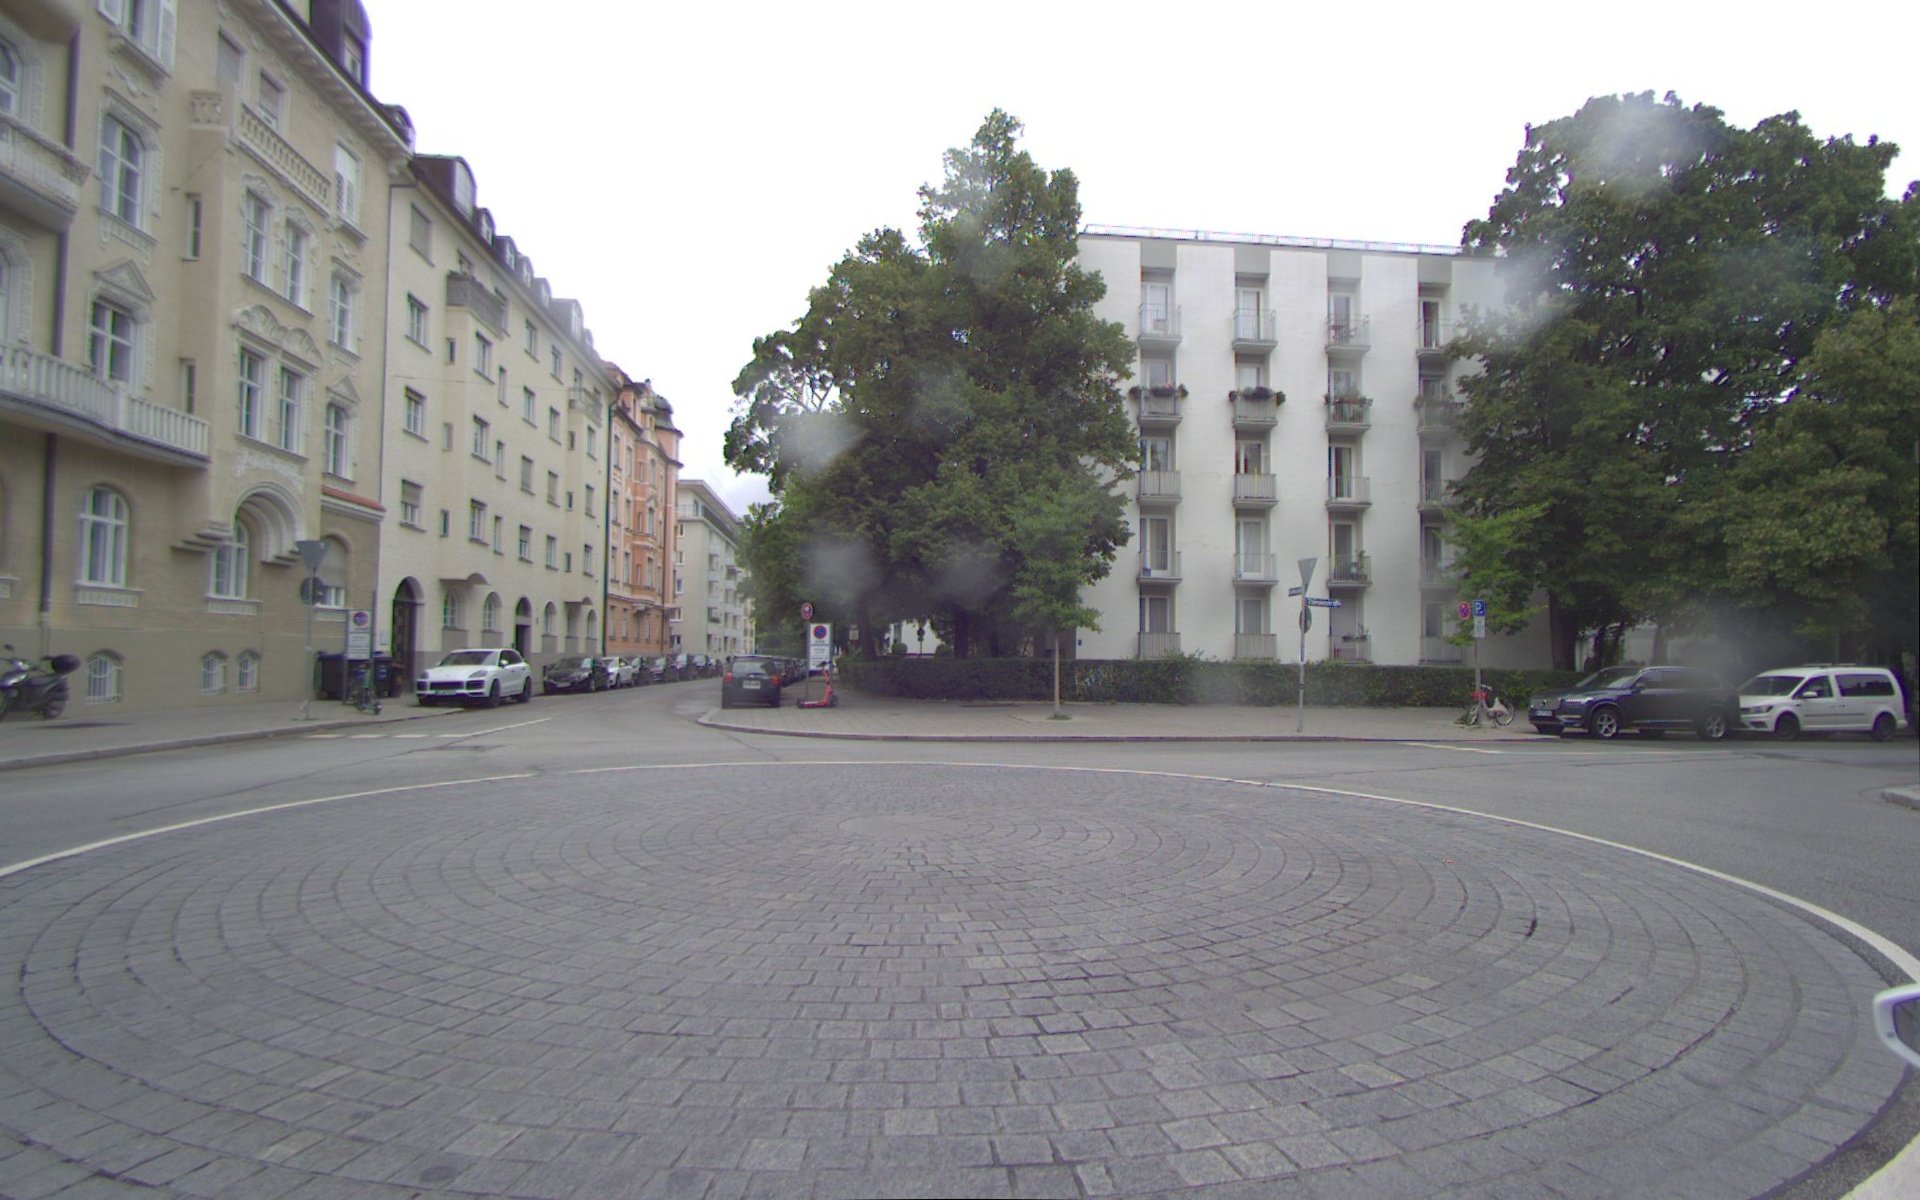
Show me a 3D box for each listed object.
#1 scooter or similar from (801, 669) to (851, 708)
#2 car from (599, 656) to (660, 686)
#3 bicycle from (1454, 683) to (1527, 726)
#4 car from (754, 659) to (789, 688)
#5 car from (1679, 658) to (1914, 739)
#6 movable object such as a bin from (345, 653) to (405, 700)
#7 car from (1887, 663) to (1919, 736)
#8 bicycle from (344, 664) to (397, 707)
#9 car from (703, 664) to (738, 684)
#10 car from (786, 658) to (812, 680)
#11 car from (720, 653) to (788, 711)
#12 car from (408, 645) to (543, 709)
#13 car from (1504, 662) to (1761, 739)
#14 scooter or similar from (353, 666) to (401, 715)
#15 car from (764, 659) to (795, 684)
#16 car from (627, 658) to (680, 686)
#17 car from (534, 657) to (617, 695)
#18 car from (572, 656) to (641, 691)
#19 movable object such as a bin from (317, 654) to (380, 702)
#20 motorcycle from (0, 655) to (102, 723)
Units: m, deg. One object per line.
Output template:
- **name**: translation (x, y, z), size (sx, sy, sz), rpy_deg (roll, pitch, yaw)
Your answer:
- **scooter or similar**: translation (-3.699, 2.427, 27.672), size (1.290, 1.037, 0.527), rpy_deg (2, -3, -18)
- **car**: translation (-16.242, 3.463, 49.564), size (1.963, 1.393, 4.178), rpy_deg (1, -3, -6)
- **bicycle**: translation (14.091, 2.764, 26.678), size (1.759, 1.099, 0.750), rpy_deg (2, -3, -23)
- **car**: translation (-10.501, 4.079, 56.187), size (1.644, 1.475, 3.674), rpy_deg (-1, -3, -7)
- **car**: translation (21.348, 2.496, 25.719), size (4.773, 1.928, 2.087), rpy_deg (2, -3, -11)
- **movable object such as a bin**: translation (-17.918, 2.336, 30.781), size (1.126, 1.389, 1.180), rpy_deg (1, -3, -4)
- **car**: translation (28.169, 2.696, 26.994), size (5.571, 1.932, 2.028), rpy_deg (2, -5, -14)
- **bicycle**: translation (-15.791, 2.283, 26.940), size (0.642, 1.082, 1.971), rpy_deg (1, -3, -14)
- **car**: translation (-17.914, 5.556, 75.278), size (1.963, 1.393, 4.178), rpy_deg (1, -3, -6)
- **car**: translation (-11.311, 4.830, 70.746), size (1.644, 1.475, 3.674), rpy_deg (-1, -3, -7)
- **car**: translation (-6.056, 2.381, 29.816), size (1.644, 1.548, 3.674), rpy_deg (-1, -3, -7)
- **car**: translation (-14.074, 2.213, 29.561), size (1.963, 1.697, 4.987), rpy_deg (1, -3, -6)
- **car**: translation (16.330, 2.426, 24.510), size (5.209, 1.741, 2.087), rpy_deg (2, -3, -10)
- **scooter or similar**: translation (-14.064, 2.174, 24.223), size (1.327, 1.123, 0.540), rpy_deg (-2, -4, 40)
- **car**: translation (-11.365, 4.484, 63.483), size (1.644, 1.475, 3.674), rpy_deg (-1, -3, -7)
- **car**: translation (-16.599, 3.892, 54.523), size (1.963, 1.393, 4.178), rpy_deg (1, -3, -6)
- **car**: translation (-15.224, 2.990, 40.050), size (1.963, 1.376, 4.475), rpy_deg (1, -3, -6)
- **car**: translation (-15.720, 3.242, 44.886), size (1.963, 1.468, 4.178), rpy_deg (1, -3, -6)
- **movable object such as a bin**: translation (-17.949, 2.281, 29.518), size (1.126, 1.389, 1.180), rpy_deg (1, -3, -4)
- **motorcycle**: translation (-17.073, 1.627, 18.753), size (0.729, 1.202, 1.744), rpy_deg (1, -3, -9)
